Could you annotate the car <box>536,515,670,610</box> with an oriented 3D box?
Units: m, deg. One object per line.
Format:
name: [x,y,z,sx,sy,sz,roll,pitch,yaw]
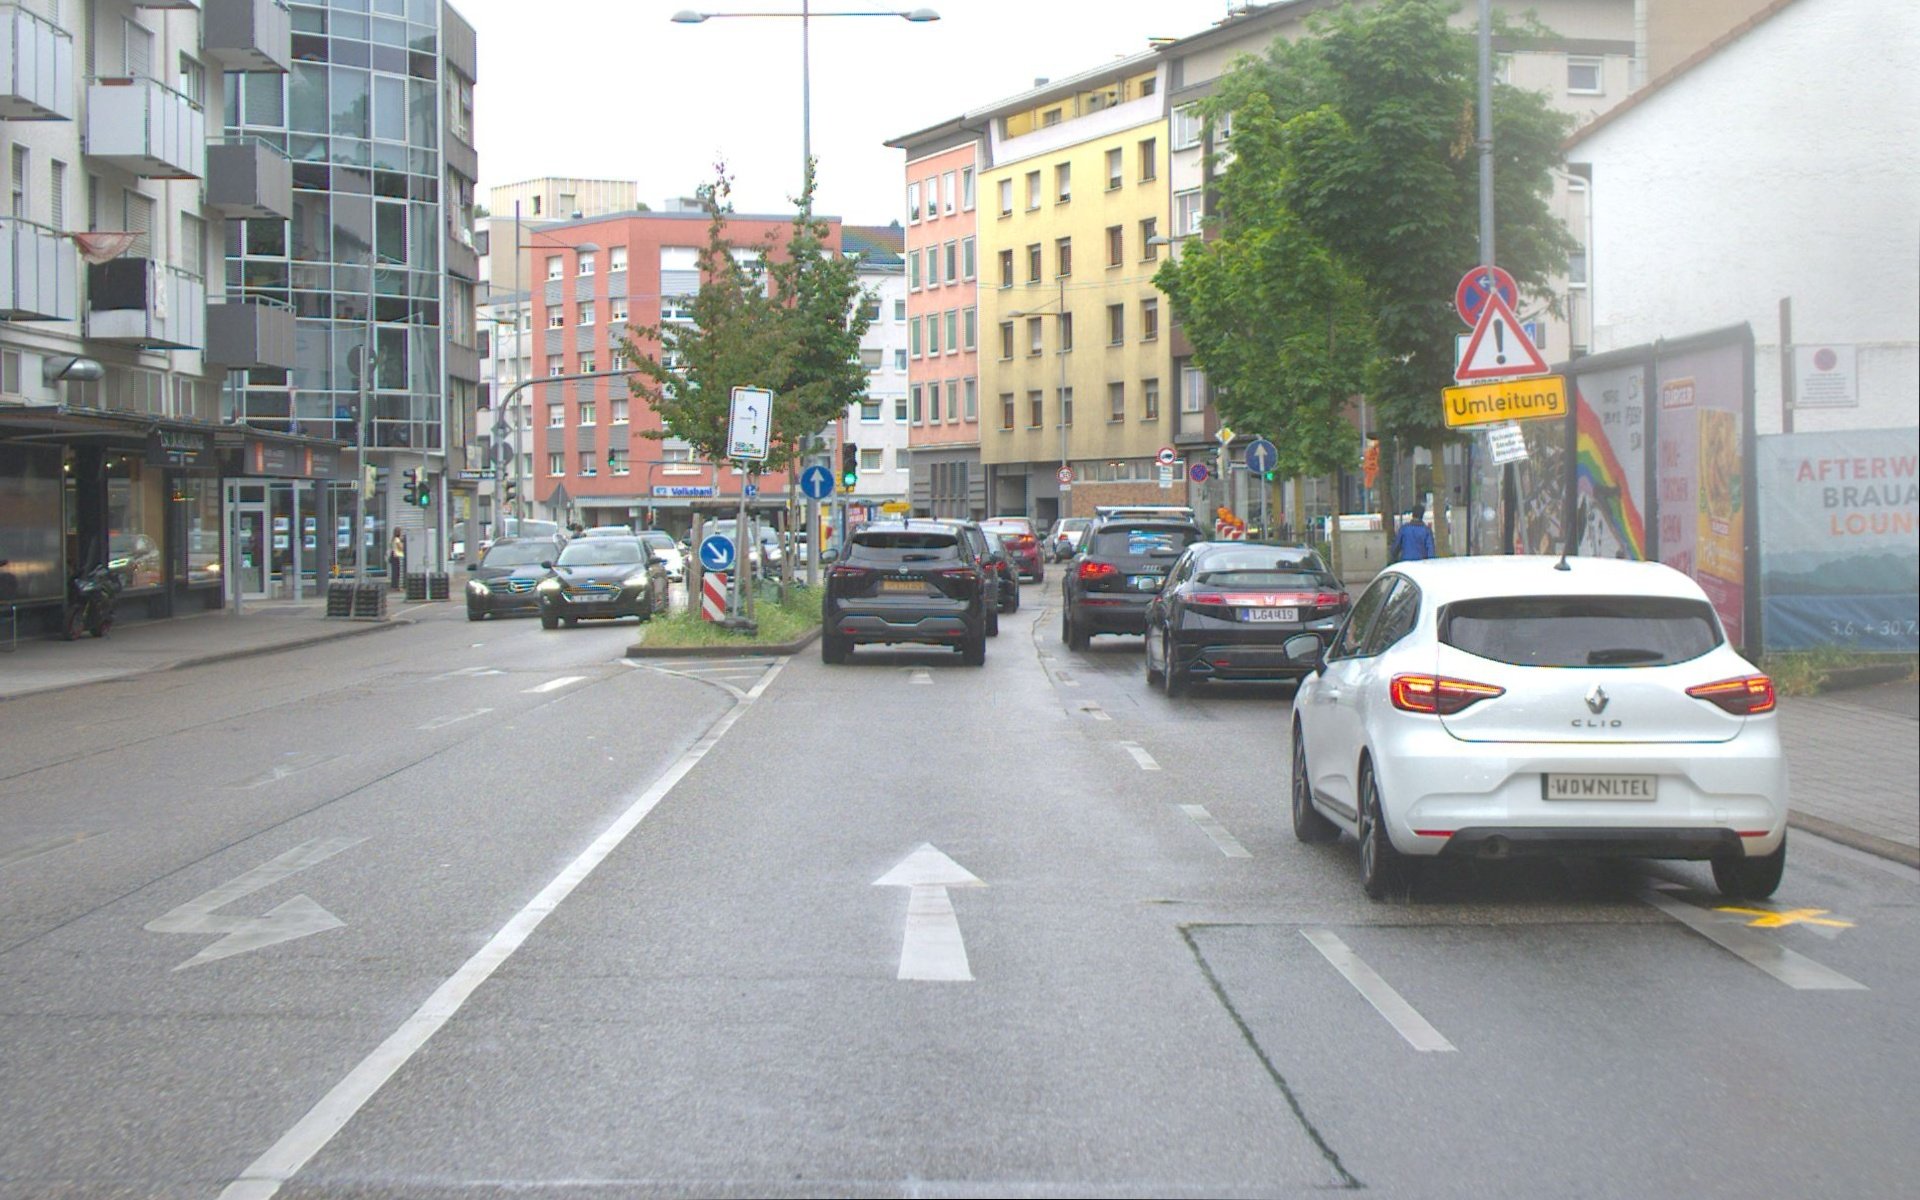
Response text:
car: [-5.839,-0.636,56.622,1.720,1.418,4.165,-3,1,0]

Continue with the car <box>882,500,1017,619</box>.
car: [-0.131,-0.597,49.102,1.823,1.595,3.719,1,1,0]

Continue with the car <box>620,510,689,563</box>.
car: [-8.698,-1.826,97.970,1.632,1.403,3.438,-3,1,0]

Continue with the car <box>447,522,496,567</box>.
car: [-16.795,-1.917,118.032,1.455,1.425,3.371,1,2,-11]

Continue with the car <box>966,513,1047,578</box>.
car: [1.026,-1.231,77.548,1.641,1.376,3.348,-2,1,-1]

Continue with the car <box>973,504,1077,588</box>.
car: [1.119,-0.965,60.687,1.641,1.376,3.348,-2,1,-1]

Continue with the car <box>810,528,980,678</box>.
car: [-0.696,-0.005,39.430,1.823,1.595,3.719,1,1,0]

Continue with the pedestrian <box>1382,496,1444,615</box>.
pedestrian: [6.839,-0.676,51.879,0.792,1.749,0.871,-2,1,13]

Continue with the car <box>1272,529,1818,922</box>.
car: [2.469,0.454,15.428,1.665,1.391,3.867,3,2,-1]

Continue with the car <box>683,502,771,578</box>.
car: [-5.436,-1.414,80.610,1.683,1.655,4.096,-3,1,0]

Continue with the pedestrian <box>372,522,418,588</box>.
pedestrian: [-13.828,-1.101,84.107,0.781,1.585,0.763,-3,1,-36]

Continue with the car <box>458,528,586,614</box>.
car: [-8.240,-0.580,64.995,1.708,1.463,4.829,-3,1,0]

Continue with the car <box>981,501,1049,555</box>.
car: [1.469,-1.928,92.143,1.641,1.376,3.348,-2,1,-1]

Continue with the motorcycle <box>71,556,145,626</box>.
motorcycle: [-12.677,-0.151,51.199,0.525,0.992,2.136,1,1,1]

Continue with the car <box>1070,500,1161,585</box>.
car: [3.328,-1.246,73.140,1.830,1.678,3.718,1,2,4]

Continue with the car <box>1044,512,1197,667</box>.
car: [2.001,-0.177,43.747,1.830,1.799,3.719,1,2,1]

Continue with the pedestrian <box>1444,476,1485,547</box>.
pedestrian: [14.626,-2.570,99.722,0.821,2.006,0.840,1,2,-19]

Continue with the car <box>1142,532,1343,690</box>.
car: [2.641,0.062,32.695,1.787,1.395,3.718,0,1,3]
